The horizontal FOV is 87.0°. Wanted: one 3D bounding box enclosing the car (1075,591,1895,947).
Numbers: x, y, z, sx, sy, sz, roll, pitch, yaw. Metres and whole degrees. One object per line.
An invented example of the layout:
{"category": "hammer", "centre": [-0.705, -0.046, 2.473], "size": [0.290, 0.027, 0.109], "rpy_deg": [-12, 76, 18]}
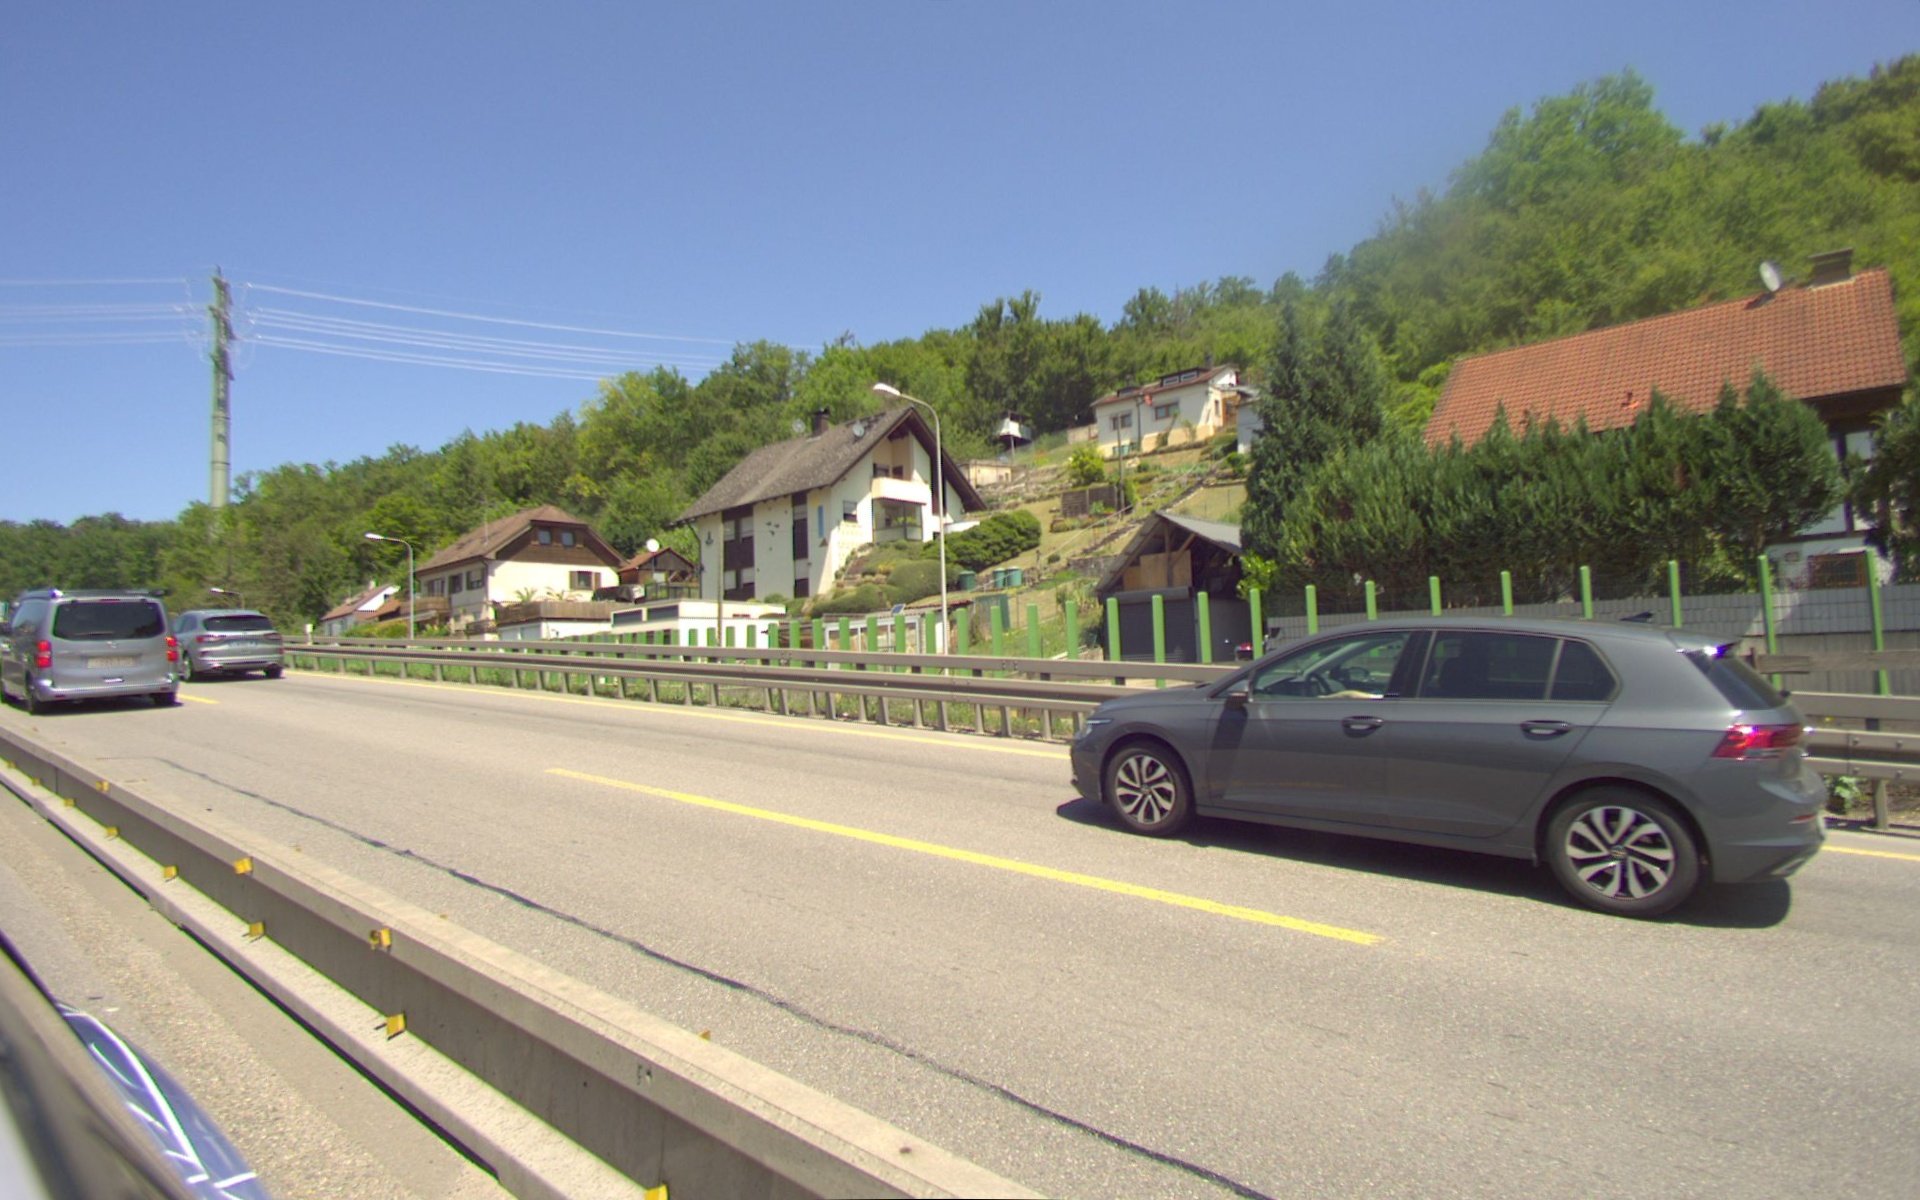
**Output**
{"category": "car", "centre": [2.860, 0.717, 6.143], "size": [4.051, 1.453, 1.731], "rpy_deg": [-1, -1, 41]}

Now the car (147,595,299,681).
{"category": "car", "centre": [-17.606, 0.848, 24.095], "size": [4.506, 1.841, 1.973], "rpy_deg": [-1, -1, 41]}

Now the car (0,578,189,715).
{"category": "car", "centre": [-15.119, 0.745, 17.430], "size": [4.967, 2.029, 1.972], "rpy_deg": [-1, -2, 42]}
